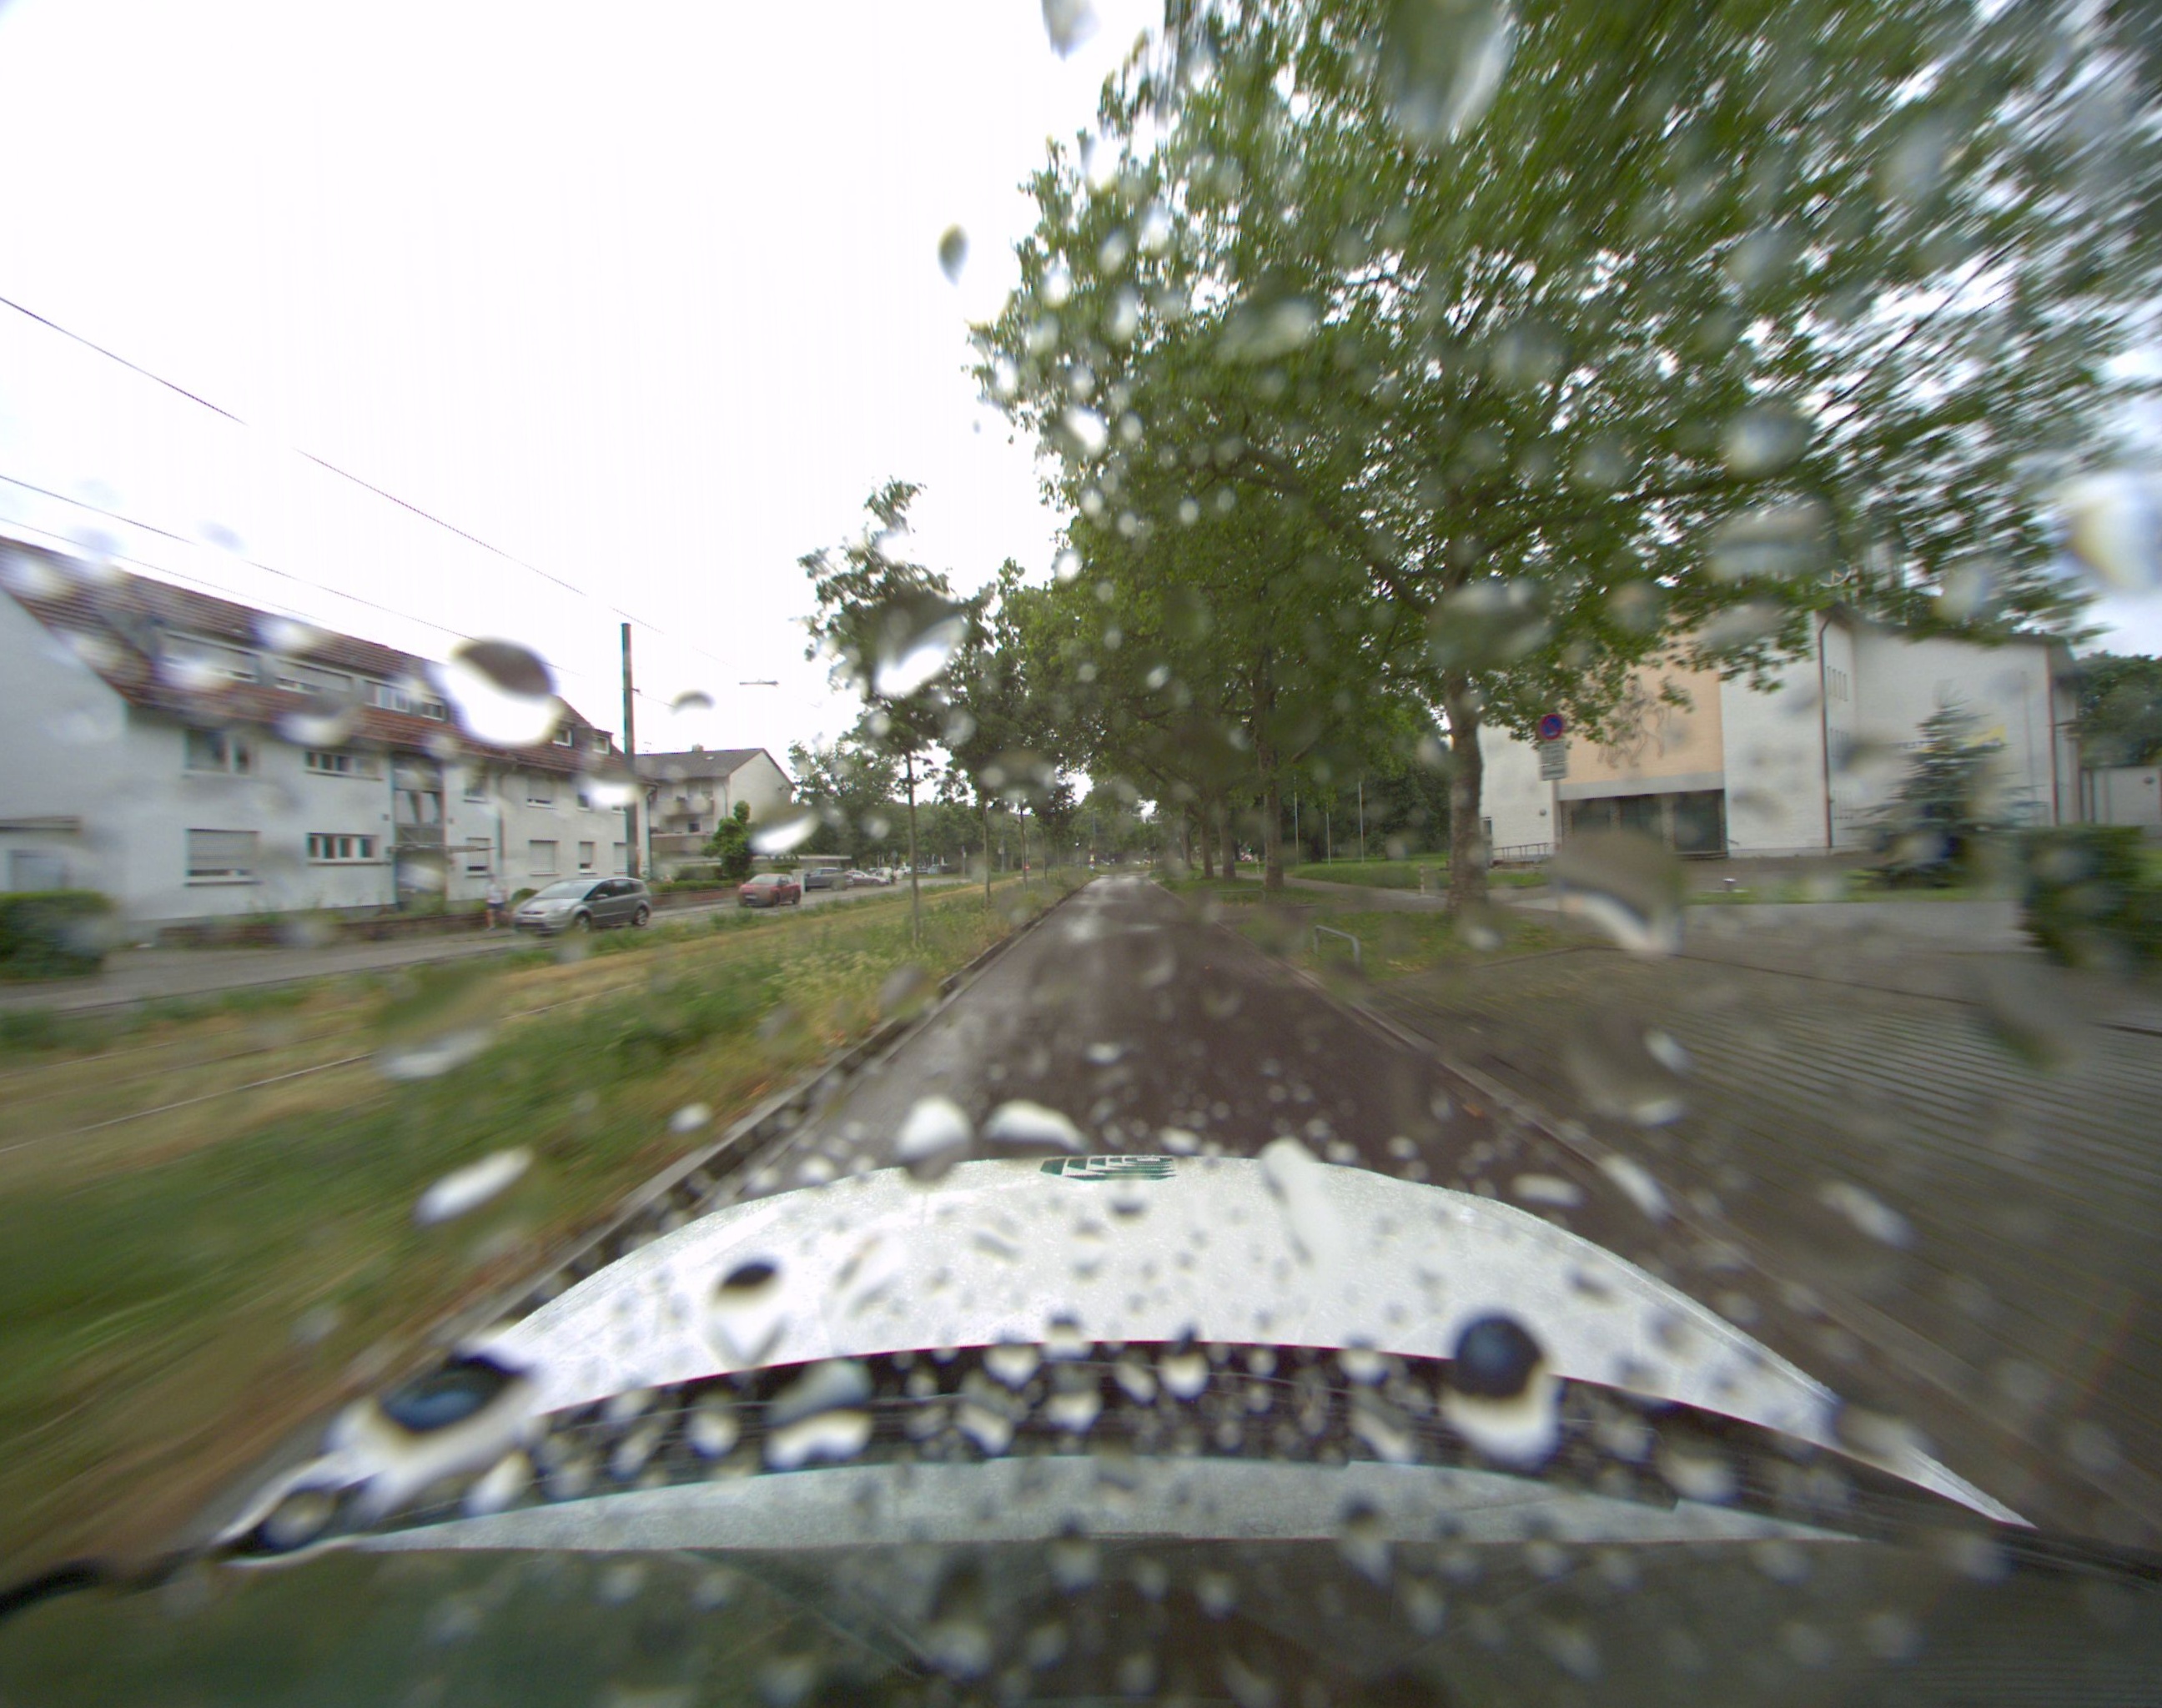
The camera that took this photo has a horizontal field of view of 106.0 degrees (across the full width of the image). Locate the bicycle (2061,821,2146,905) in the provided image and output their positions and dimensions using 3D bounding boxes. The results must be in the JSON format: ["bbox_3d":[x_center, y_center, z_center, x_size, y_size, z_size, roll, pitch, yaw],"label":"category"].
[{"bbox_3d":[14.809,0.102,11.832,0.458,1.090,2.058,-4,0,44],"label":"bicycle"}]

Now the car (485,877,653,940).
[{"bbox_3d":[-15.097,1.543,24.380,1.985,1.581,4.521,0,0,3],"label":"car"}]

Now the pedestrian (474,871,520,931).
[{"bbox_3d":[-17.748,1.421,24.759,0.699,1.755,0.855,-3,-1,2],"label":"pedestrian"}]

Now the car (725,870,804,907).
[{"bbox_3d":[-14.717,1.567,38.131,1.986,1.488,4.207,0,0,1],"label":"car"}]

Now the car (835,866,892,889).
[{"bbox_3d":[-17.372,1.849,65.119,3.975,1.616,1.999,-3,0,-1],"label":"car"}]

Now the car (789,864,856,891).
[{"bbox_3d":[-18.029,1.629,56.962,3.975,1.616,1.999,-3,0,-1],"label":"car"}]
